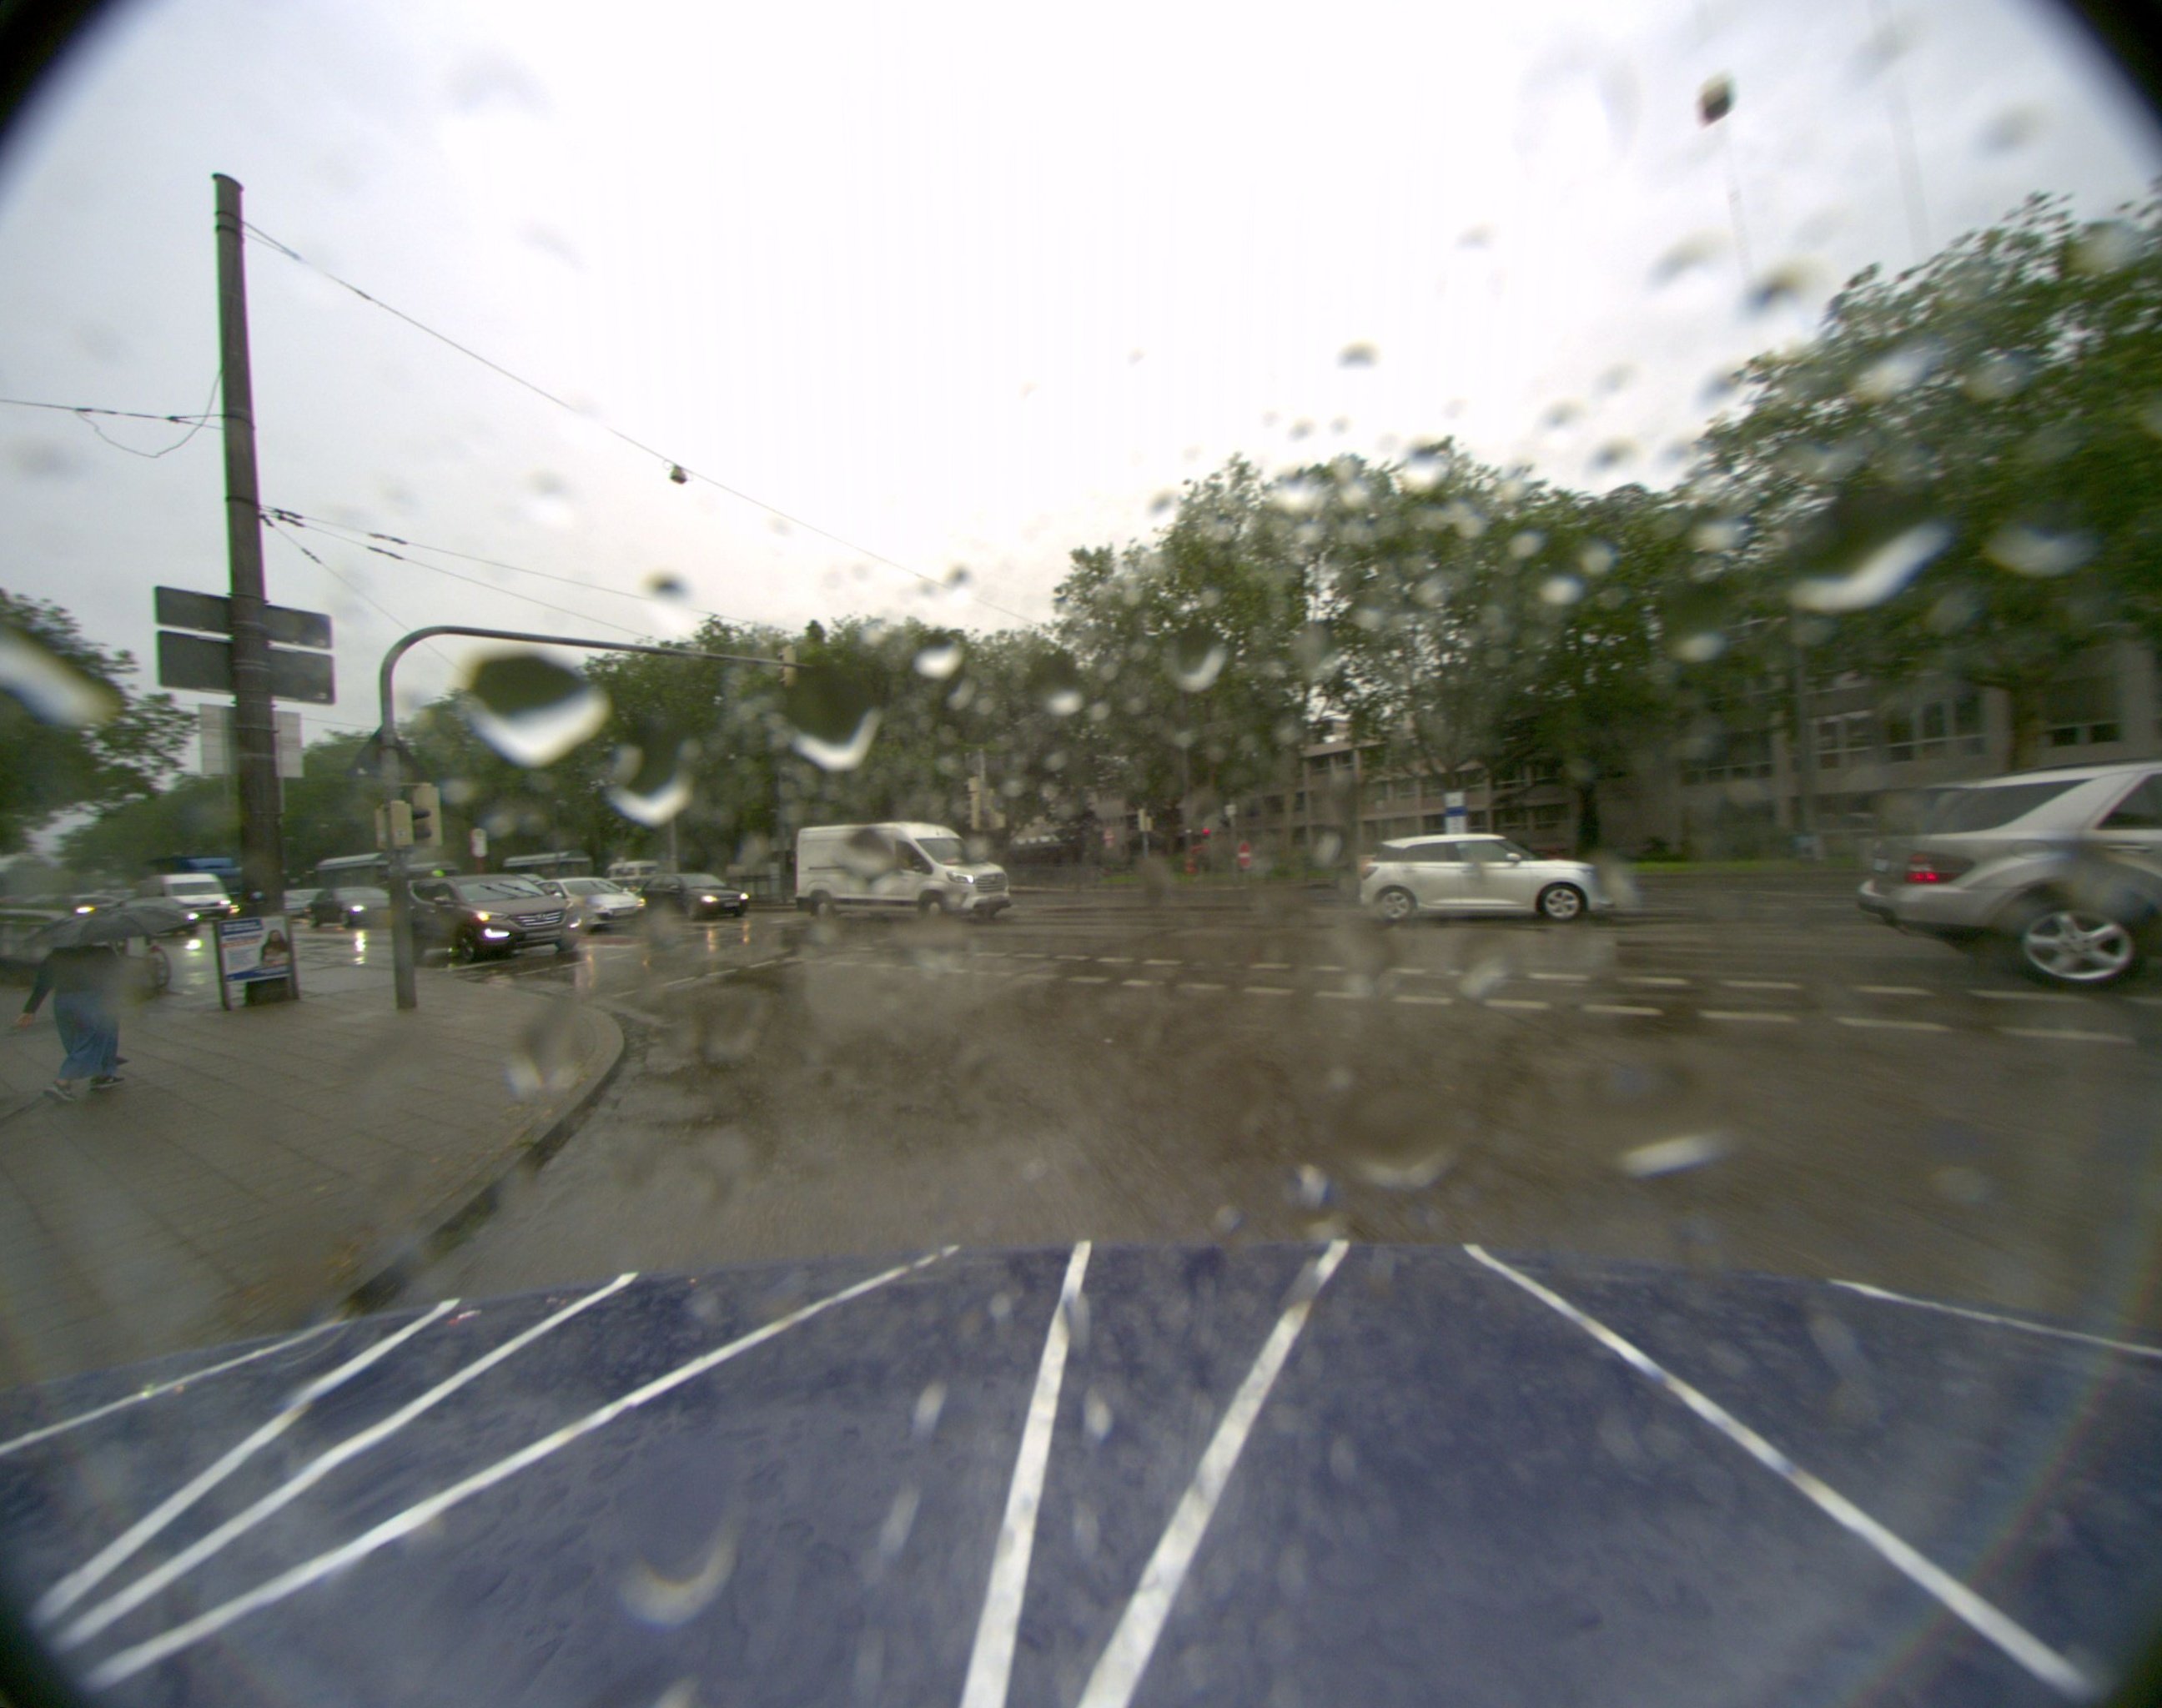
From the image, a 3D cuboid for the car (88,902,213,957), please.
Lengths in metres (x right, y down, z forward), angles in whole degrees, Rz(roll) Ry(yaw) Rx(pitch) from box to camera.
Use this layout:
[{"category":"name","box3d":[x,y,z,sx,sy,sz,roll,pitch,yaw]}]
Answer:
[{"category":"car","box3d":[-34.014,2.743,27.755,4.681,1.678,1.981,-4,1,29]}]

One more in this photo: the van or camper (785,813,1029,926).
[{"category":"van or camper","box3d":[-4.442,0.434,19.000,5.955,2.456,2.186,-3,1,31]}]

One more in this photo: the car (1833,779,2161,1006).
[{"category":"car","box3d":[9.147,0.200,5.730,4.668,1.637,1.917,-3,1,36]}]

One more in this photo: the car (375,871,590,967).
[{"category":"car","box3d":[-12.549,1.321,15.853,4.668,1.637,1.917,-3,1,31]}]

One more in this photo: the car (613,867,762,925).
[{"category":"car","box3d":[-12.186,1.314,23.459,4.545,1.504,1.790,-4,1,30]}]

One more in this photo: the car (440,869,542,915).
[{"category":"car","box3d":[-24.043,1.570,30.937,4.236,1.625,1.852,-3,1,33]}]

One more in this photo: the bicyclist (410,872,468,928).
[{"category":"bicyclist","box3d":[-17.908,1.261,21.196,0.803,1.462,0.929,-1,3,33]}]

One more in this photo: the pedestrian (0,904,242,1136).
[{"category":"pedestrian","box3d":[-8.179,1.317,6.333,1.106,1.657,0.997,-4,1,-9]}]

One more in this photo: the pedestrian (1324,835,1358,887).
[{"category":"pedestrian","box3d":[8.377,0.231,24.526,0.718,1.601,0.735,-3,0,-8]}]

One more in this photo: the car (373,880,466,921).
[{"category":"car","box3d":[-30.951,2.193,35.540,4.180,1.637,1.917,-4,1,30]}]

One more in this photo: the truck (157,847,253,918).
[{"category":"truck","box3d":[-57.931,1.951,50.203,8.332,4.252,2.423,-3,1,31]}]

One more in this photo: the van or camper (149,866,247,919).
[{"category":"van or camper","box3d":[-47.087,2.078,40.483,5.699,2.484,2.148,-4,1,29]}]

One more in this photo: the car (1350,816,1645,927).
[{"category":"car","box3d":[6.866,0.317,12.945,4.064,1.578,1.810,-3,0,26]}]

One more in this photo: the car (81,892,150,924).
[{"category":"car","box3d":[-61.245,3.416,48.189,3.990,1.749,2.003,-2,3,29]}]

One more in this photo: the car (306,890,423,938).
[{"category":"car","box3d":[-27.400,2.305,29.021,5.322,1.583,1.952,-4,0,33]}]

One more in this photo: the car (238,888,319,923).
[{"category":"car","box3d":[-35.911,2.331,33.990,4.236,1.350,1.640,-3,1,33]}]

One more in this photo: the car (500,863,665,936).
[{"category":"car","box3d":[-13.894,1.272,21.156,4.256,1.731,1.980,-4,1,29]}]

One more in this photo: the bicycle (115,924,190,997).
[{"category":"bicycle","box3d":[-16.294,1.850,13.327,1.788,1.162,0.424,-4,3,29]}]
